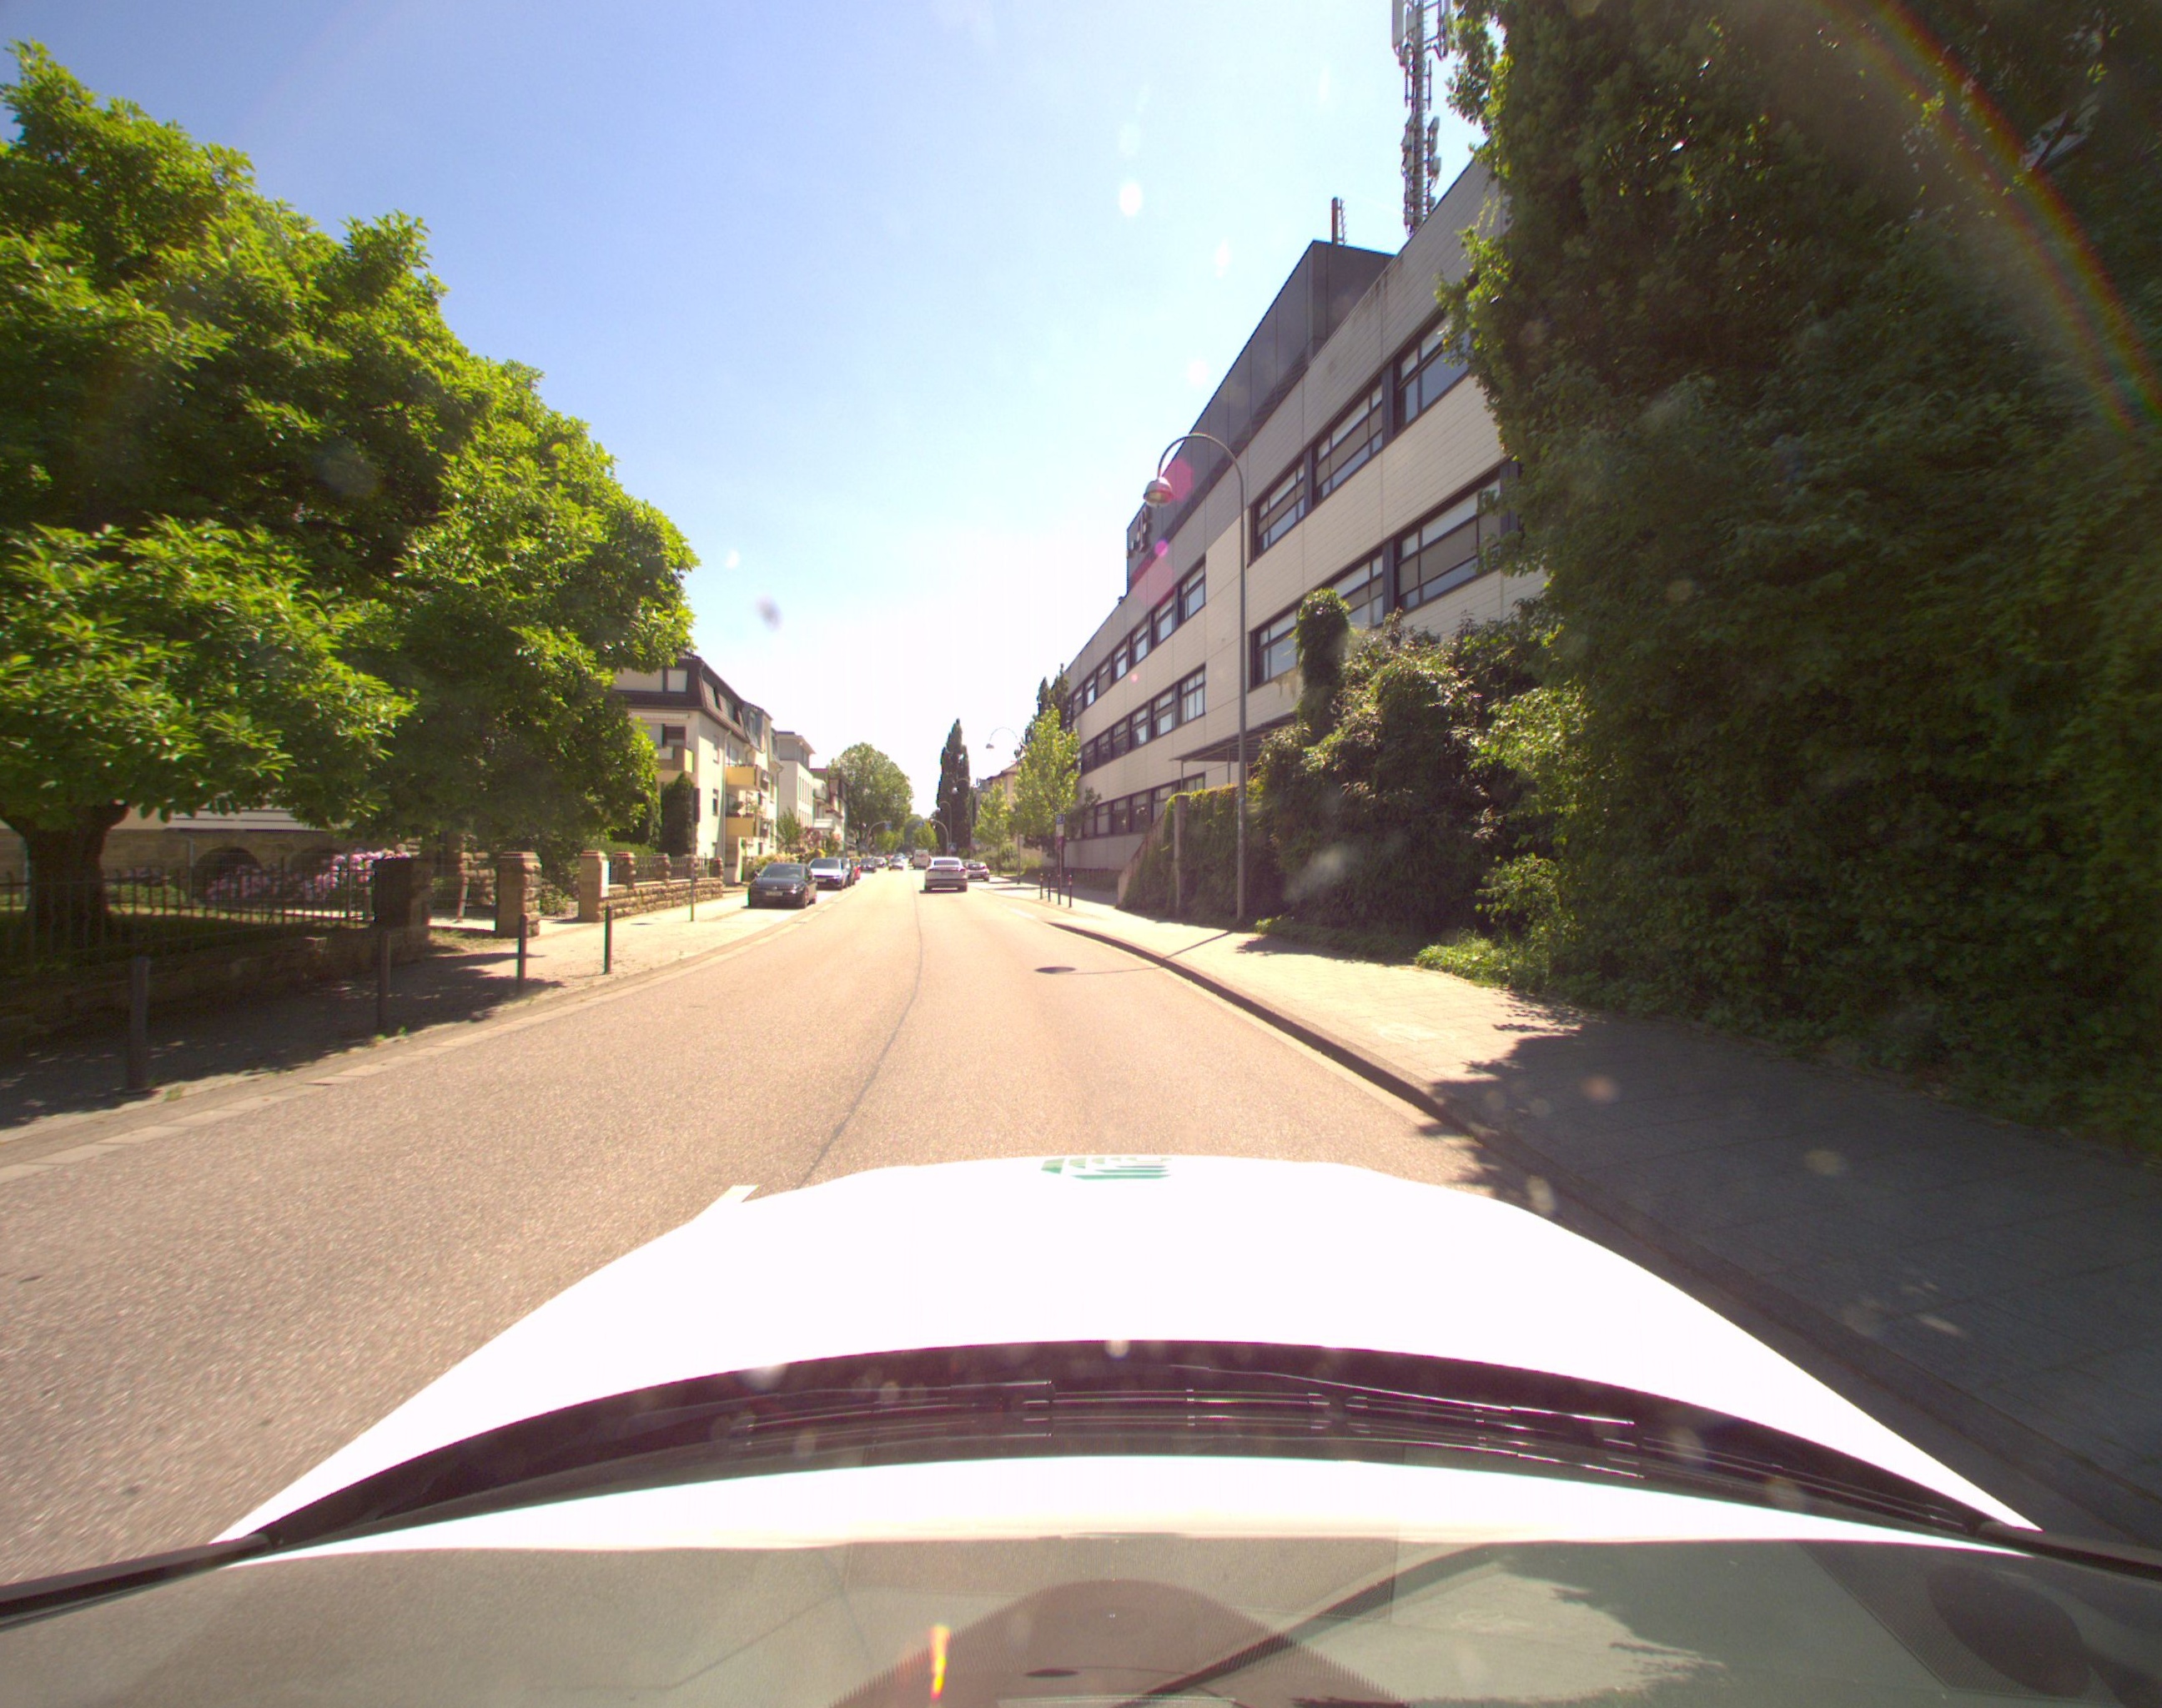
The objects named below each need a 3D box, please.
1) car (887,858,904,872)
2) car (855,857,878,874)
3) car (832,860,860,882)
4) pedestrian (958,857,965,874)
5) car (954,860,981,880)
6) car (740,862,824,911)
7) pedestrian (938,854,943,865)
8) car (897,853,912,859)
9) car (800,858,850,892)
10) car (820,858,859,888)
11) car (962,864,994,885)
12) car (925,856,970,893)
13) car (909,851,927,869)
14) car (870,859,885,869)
[{"bbox_3d":[-22.748,1.326,99.750,1.976,1.670,4.451,-1,0,-13],"label":"car"},{"bbox_3d":[-22.277,1.163,84.755,1.925,1.720,4.457,0,0,-9],"label":"car"},{"bbox_3d":[-16.764,1.205,58.282,1.651,1.419,3.887,3,-1,-14],"label":"car"},{"bbox_3d":[-12.460,1.194,85.176,0.639,1.758,0.613,0,0,-17],"label":"pedestrian"},{"bbox_3d":[-8.823,1.205,63.034,1.660,1.488,4.326,-2,0,-13],"label":"car"},{"bbox_3d":[-10.004,1.049,27.609,1.927,1.436,4.640,2,-1,-12],"label":"car"},{"bbox_3d":[-23.632,0.951,137.220,0.695,1.736,0.664,0,-1,-17],"label":"pedestrian"},{"bbox_3d":[-51.900,0.518,239.776,3.981,1.651,1.996,0,0,-6],"label":"car"},{"bbox_3d":[-12.976,1.048,41.534,1.927,1.573,4.640,2,-1,-12],"label":"car"},{"bbox_3d":[-14.069,1.060,47.569,1.726,1.619,4.552,3,-1,-12],"label":"car"},{"bbox_3d":[-7.327,1.421,57.460,1.864,1.373,3.983,-1,0,-12],"label":"car"},{"bbox_3d":[-6.475,0.937,39.192,1.937,1.614,4.454,-2,0,-11],"label":"car"},{"bbox_3d":[-21.537,0.799,107.576,2.073,2.197,5.114,-2,0,-14],"label":"car"},{"bbox_3d":[-29.370,1.441,117.836,1.996,1.349,3.982,0,0,-13],"label":"car"}]
